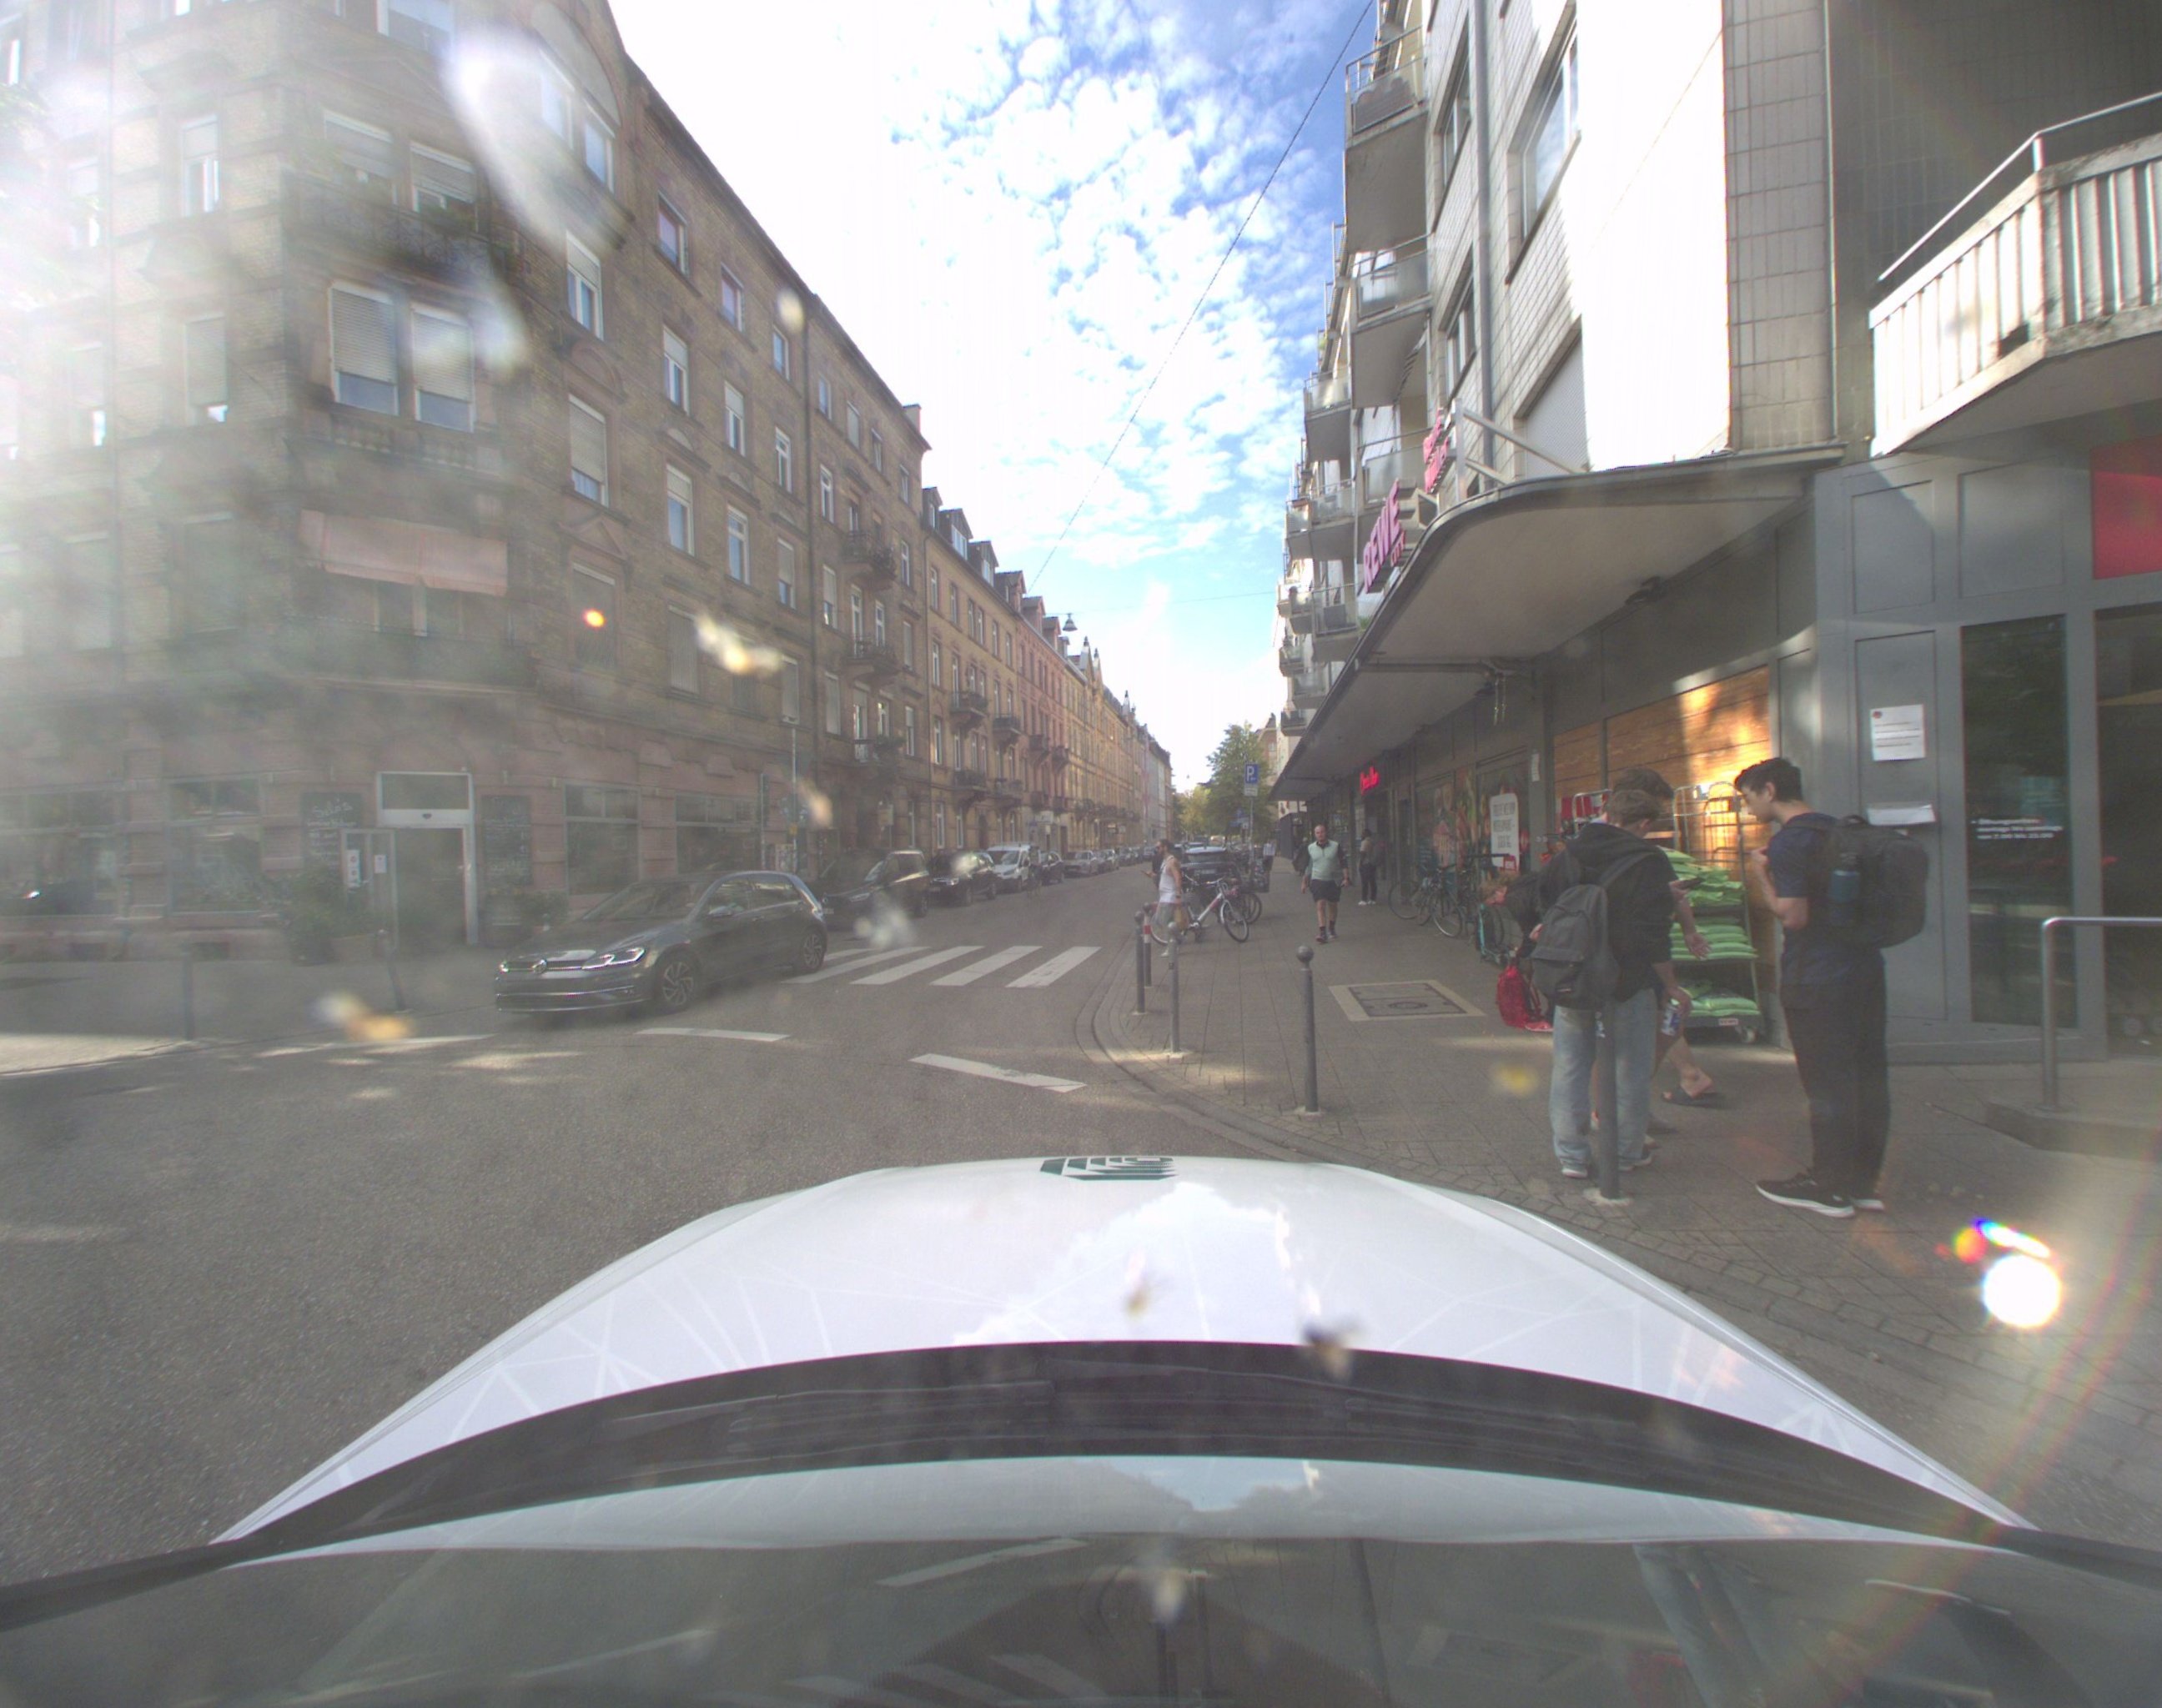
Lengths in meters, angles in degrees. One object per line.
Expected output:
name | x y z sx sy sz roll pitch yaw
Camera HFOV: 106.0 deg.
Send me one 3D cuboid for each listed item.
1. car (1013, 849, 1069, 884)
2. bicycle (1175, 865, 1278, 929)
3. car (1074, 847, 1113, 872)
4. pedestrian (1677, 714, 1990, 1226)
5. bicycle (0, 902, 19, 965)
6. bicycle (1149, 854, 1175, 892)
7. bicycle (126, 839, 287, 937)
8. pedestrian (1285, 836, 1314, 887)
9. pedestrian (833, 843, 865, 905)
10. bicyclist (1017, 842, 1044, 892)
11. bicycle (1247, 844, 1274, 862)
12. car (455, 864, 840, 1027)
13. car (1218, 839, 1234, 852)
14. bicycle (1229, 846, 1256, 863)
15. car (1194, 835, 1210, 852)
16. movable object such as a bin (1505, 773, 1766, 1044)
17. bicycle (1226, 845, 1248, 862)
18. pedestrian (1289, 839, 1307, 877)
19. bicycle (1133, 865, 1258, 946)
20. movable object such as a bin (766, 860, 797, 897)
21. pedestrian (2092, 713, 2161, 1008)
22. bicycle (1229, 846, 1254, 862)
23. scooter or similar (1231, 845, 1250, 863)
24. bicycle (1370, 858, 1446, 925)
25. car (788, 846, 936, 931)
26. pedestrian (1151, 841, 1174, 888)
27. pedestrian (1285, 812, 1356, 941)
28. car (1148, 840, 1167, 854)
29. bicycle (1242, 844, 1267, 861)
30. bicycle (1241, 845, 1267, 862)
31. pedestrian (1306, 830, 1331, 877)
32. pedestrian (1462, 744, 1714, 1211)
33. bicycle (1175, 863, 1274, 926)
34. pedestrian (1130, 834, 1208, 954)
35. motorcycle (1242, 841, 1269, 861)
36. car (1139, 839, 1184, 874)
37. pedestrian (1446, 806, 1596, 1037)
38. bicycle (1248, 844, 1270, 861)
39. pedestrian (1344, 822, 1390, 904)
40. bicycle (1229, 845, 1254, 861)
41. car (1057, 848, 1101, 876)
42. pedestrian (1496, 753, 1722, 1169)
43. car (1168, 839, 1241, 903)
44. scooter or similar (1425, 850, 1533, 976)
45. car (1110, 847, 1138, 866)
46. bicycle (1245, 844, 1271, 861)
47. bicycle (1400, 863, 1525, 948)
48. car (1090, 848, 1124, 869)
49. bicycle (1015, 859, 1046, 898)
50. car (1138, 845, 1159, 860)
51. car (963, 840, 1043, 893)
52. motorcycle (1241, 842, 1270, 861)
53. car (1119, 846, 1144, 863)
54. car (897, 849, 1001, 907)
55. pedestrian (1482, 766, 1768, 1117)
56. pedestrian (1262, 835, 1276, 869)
car | -1.758 0.542 37.158 1.731 1.483 3.995 0 1 10
bicycle | 2.737 0.802 15.421 1.781 1.070 0.569 -4 1 1
car | 0.846 0.323 50.606 1.730 1.483 3.996 0 1 11
pedestrian | 2.943 0.414 3.272 0.647 1.797 0.662 -5 1 24
bicycle | -19.562 1.393 14.194 1.766 1.067 0.530 -1 -1 11
bicycle | 2.902 0.669 29.047 0.713 1.274 1.890 0 1 12
bicycle | -14.295 0.545 13.326 2.147 1.521 0.557 -2 0 6
pedestrian | 7.034 0.222 26.237 0.818 1.588 0.783 -2 0 13
pedestrian | -7.122 0.606 25.037 0.673 1.840 0.859 1 1 5
bicyclist | -1.729 0.442 28.025 0.697 1.677 1.114 -2 0 6
bicycle | 12.666 -0.073 57.396 1.753 1.162 0.652 -4 0 13
car | -4.695 0.901 9.615 1.779 1.438 4.013 -3 -1 12
car | 18.657 -1.095 104.928 1.918 1.638 4.013 0 1 11
bicycle | 11.499 0.051 58.031 1.756 1.056 0.412 -4 0 6
car | 14.778 -1.301 98.995 1.771 2.019 3.899 0 1 10
movable object such as a bin | 4.218 0.347 6.488 0.774 1.744 2.430 -2 0 11
bicycle | 11.402 -0.025 59.446 1.488 1.146 0.412 -4 0 6
pedestrian | 9.306 0.156 34.948 0.639 1.588 0.783 -4 0 13
bicycle | 1.865 0.818 13.264 1.871 1.125 0.910 -4 0 9
movable object such as a bin | -5.945 0.487 16.189 0.381 0.714 0.477 -1 1 7
pedestrian | 6.999 0.020 5.008 0.755 1.753 0.936 -1 1 37
bicycle | 12.173 -0.032 61.882 1.753 1.099 0.413 -4 0 14
scooter or similar | 11.243 0.017 57.362 1.194 1.147 0.381 -4 1 43
bicycle | 5.590 0.610 14.036 0.737 1.015 1.787 -4 0 8
car | -5.123 0.724 19.745 1.749 1.773 4.418 0 1 10
pedestrian | 2.916 0.350 29.121 0.713 1.650 0.933 0 1 12
pedestrian | 3.662 0.327 12.381 0.877 1.834 1.052 -4 0 19
car | 8.714 -0.791 92.622 1.679 1.550 3.879 0 0 11
bicycle | 12.834 -0.118 60.296 1.765 1.146 0.410 -4 0 -9
bicycle | 12.446 -0.030 58.507 1.753 1.087 0.652 -4 0 13
pedestrian | 9.596 -0.018 32.918 0.700 1.860 0.649 -2 0 40
pedestrian | 2.230 0.457 3.584 0.718 1.797 0.625 -6 1 -38
bicycle | 2.808 0.786 16.031 1.781 1.070 0.587 -4 1 1
pedestrian | 1.295 0.571 11.867 1.013 1.671 0.807 -2 -1 10
motorcycle | 14.929 -0.261 69.535 2.134 1.530 0.689 -4 0 15
car | 4.342 0.134 43.536 1.952 1.740 4.054 -1 0 11
pedestrian | 3.336 0.492 6.240 0.718 1.632 0.714 -4 0 9
bicycle | 12.928 -0.125 59.214 1.485 1.146 0.413 -4 0 11
pedestrian | 6.355 0.192 18.141 0.709 1.746 0.819 -4 0 9
bicycle | 12.531 -0.095 63.545 1.781 1.159 0.502 -4 0 14
car | -0.068 0.416 46.122 1.730 1.483 3.996 0 1 11
pedestrian | 2.576 0.456 3.972 0.706 1.797 0.636 -4 1 44
car | 3.691 0.422 23.889 1.780 1.605 3.937 -4 0 12
scooter or similar | 4.253 0.592 8.786 0.628 1.213 1.259 -4 0 9
car | 3.385 0.169 63.815 1.679 1.386 3.879 0 1 11
bicycle | 12.954 -0.126 59.759 1.757 1.146 0.412 -4 0 5
bicycle | 5.157 0.663 11.147 0.676 1.043 1.729 -2 -1 -8
car | 1.779 0.270 55.249 1.679 1.386 3.879 0 1 11
bicycle | -1.711 0.814 28.011 0.697 1.220 2.121 -2 1 6
car | 6.651 -0.169 80.089 1.679 1.369 3.879 1 1 11
car | -2.952 0.417 31.940 1.908 1.871 4.450 -2 1 10
motorcycle | 14.272 -0.206 66.562 2.134 1.434 0.768 -4 0 15
car | 4.346 0.042 70.004 1.679 1.437 3.879 0 1 11
car | -4.072 0.683 25.882 1.981 1.638 4.157 -1 1 10
pedestrian | 3.055 0.444 4.708 0.846 1.746 1.049 -4 0 0
pedestrian | 9.603 -0.113 41.568 0.608 1.726 1.130 -2 1 12
